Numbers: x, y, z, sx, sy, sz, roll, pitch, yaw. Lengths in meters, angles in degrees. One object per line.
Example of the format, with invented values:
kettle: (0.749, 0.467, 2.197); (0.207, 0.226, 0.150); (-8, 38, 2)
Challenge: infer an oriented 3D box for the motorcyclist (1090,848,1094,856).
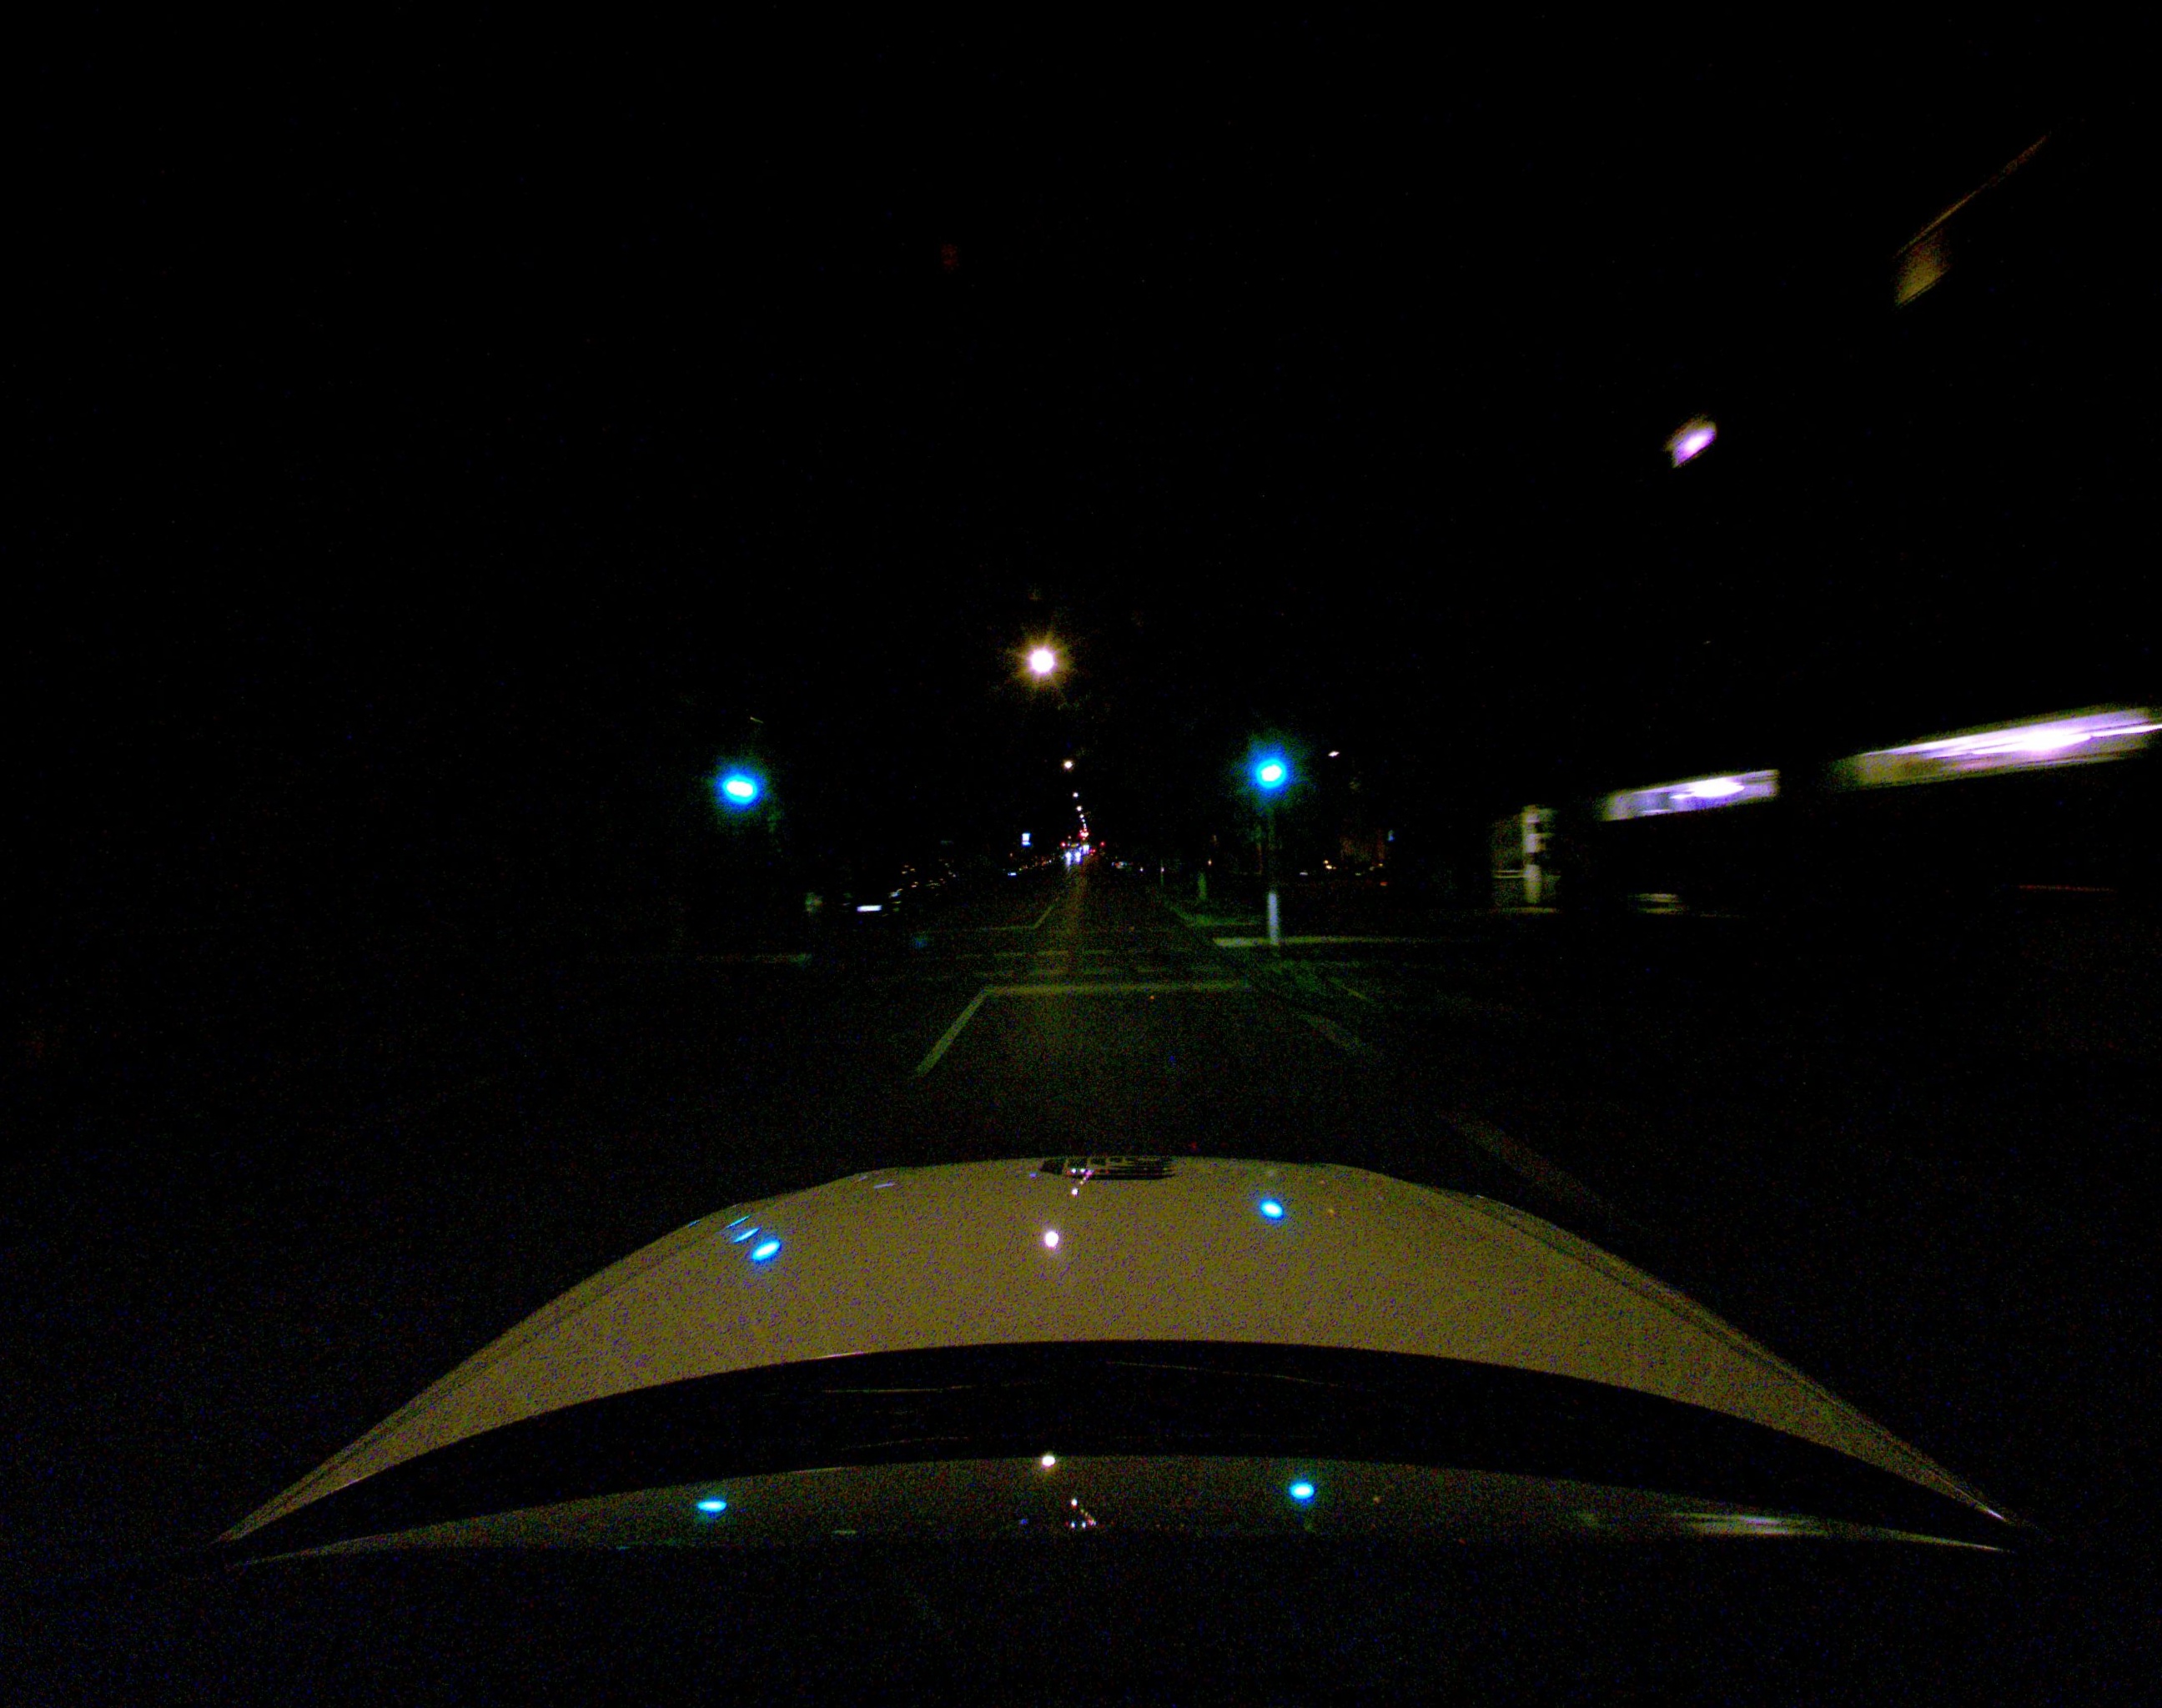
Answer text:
motorcyclist: (2.488, -0.424, 181.167); (0.846, 1.752, 0.805); (0, -1, 0)

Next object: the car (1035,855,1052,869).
car: (-4.378, 0.893, 95.749); (1.699, 1.491, 4.227); (-3, 1, 0)

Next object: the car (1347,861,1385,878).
car: (23.228, 1.233, 66.250); (1.752, 1.341, 3.944); (-1, -1, 38)

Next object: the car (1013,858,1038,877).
car: (-4.698, 1.120, 69.614); (1.829, 1.446, 4.543); (-1, 0, -1)

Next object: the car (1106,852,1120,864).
car: (4.335, 0.578, 110.903); (1.757, 1.476, 4.081); (-3, 1, 1)

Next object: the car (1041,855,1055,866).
car: (-4.390, 0.848, 107.676); (1.632, 1.498, 2.766); (-1, -1, 2)

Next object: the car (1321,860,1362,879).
car: (19.871, 1.154, 62.066); (1.779, 1.417, 3.862); (-1, -1, 38)

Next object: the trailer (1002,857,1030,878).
trailer: (-5.030, 1.045, 63.654); (1.630, 1.639, 3.444); (0, -1, 5)

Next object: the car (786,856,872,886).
car: (-13.306, 0.878, 43.104); (3.962, 1.425, 1.767); (1, 0, 10)

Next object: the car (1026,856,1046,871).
car: (-4.560, 0.983, 83.342); (1.858, 1.491, 4.279); (0, -1, 0)

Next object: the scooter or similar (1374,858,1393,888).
scooter or similar: (11.866, 0.738, 31.877); (0.494, 1.146, 1.676); (-4, -2, 25)

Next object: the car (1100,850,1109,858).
car: (4.952, -0.034, 173.079); (1.862, 1.526, 4.150); (-3, 1, 1)

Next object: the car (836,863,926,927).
car: (-5.164, 0.999, 21.456); (1.644, 1.514, 3.698); (0, -1, -3)

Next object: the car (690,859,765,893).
car: (-14.341, 0.867, 33.243); (1.551, 1.317, 3.561); (0, -1, -1)

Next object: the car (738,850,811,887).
car: (-14.127, 0.658, 37.803); (1.751, 1.538, 4.186); (2, -1, 0)

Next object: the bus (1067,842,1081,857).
bus: (-1.561, -1.082, 182.214); (2.828, 3.177, 10.499); (0, 1, 1)

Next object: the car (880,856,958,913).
car: (-5.229, 0.937, 26.895); (1.844, 1.650, 4.667); (0, 0, -3)

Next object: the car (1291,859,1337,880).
car: (16.436, 1.044, 57.315); (1.779, 1.417, 3.862); (-1, -1, 38)

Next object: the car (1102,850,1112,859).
car: (5.068, 0.084, 159.814); (1.806, 1.594, 4.274); (-3, 1, 1)

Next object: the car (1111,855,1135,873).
car: (3.668, 0.846, 72.366); (1.839, 1.417, 4.644); (-4, -1, 0)

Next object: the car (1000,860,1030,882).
car: (-4.748, 1.171, 59.067); (1.809, 1.484, 4.346); (-1, 0, -1)

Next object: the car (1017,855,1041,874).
car: (-4.719, 0.921, 74.784); (1.828, 1.619, 4.545); (0, 0, 1)

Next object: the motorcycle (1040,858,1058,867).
motorcycle: (-4.010, 1.063, 101.925); (2.180, 1.131, 0.720); (-1, 1, 33)

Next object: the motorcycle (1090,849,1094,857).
motorcycle: (2.491, -0.232, 181.133); (0.927, 1.752, 2.625); (0, -1, 1)

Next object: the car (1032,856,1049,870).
car: (-4.378, 0.959, 87.924); (1.616, 1.491, 3.780); (0, -1, 0)

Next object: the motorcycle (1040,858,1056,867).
motorcycle: (-4.089, 1.055, 99.906); (0.720, 1.147, 2.182); (-2, 1, -42)

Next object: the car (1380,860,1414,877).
car: (27.967, 1.245, 71.975); (1.752, 1.417, 3.944); (-1, -1, 38)
